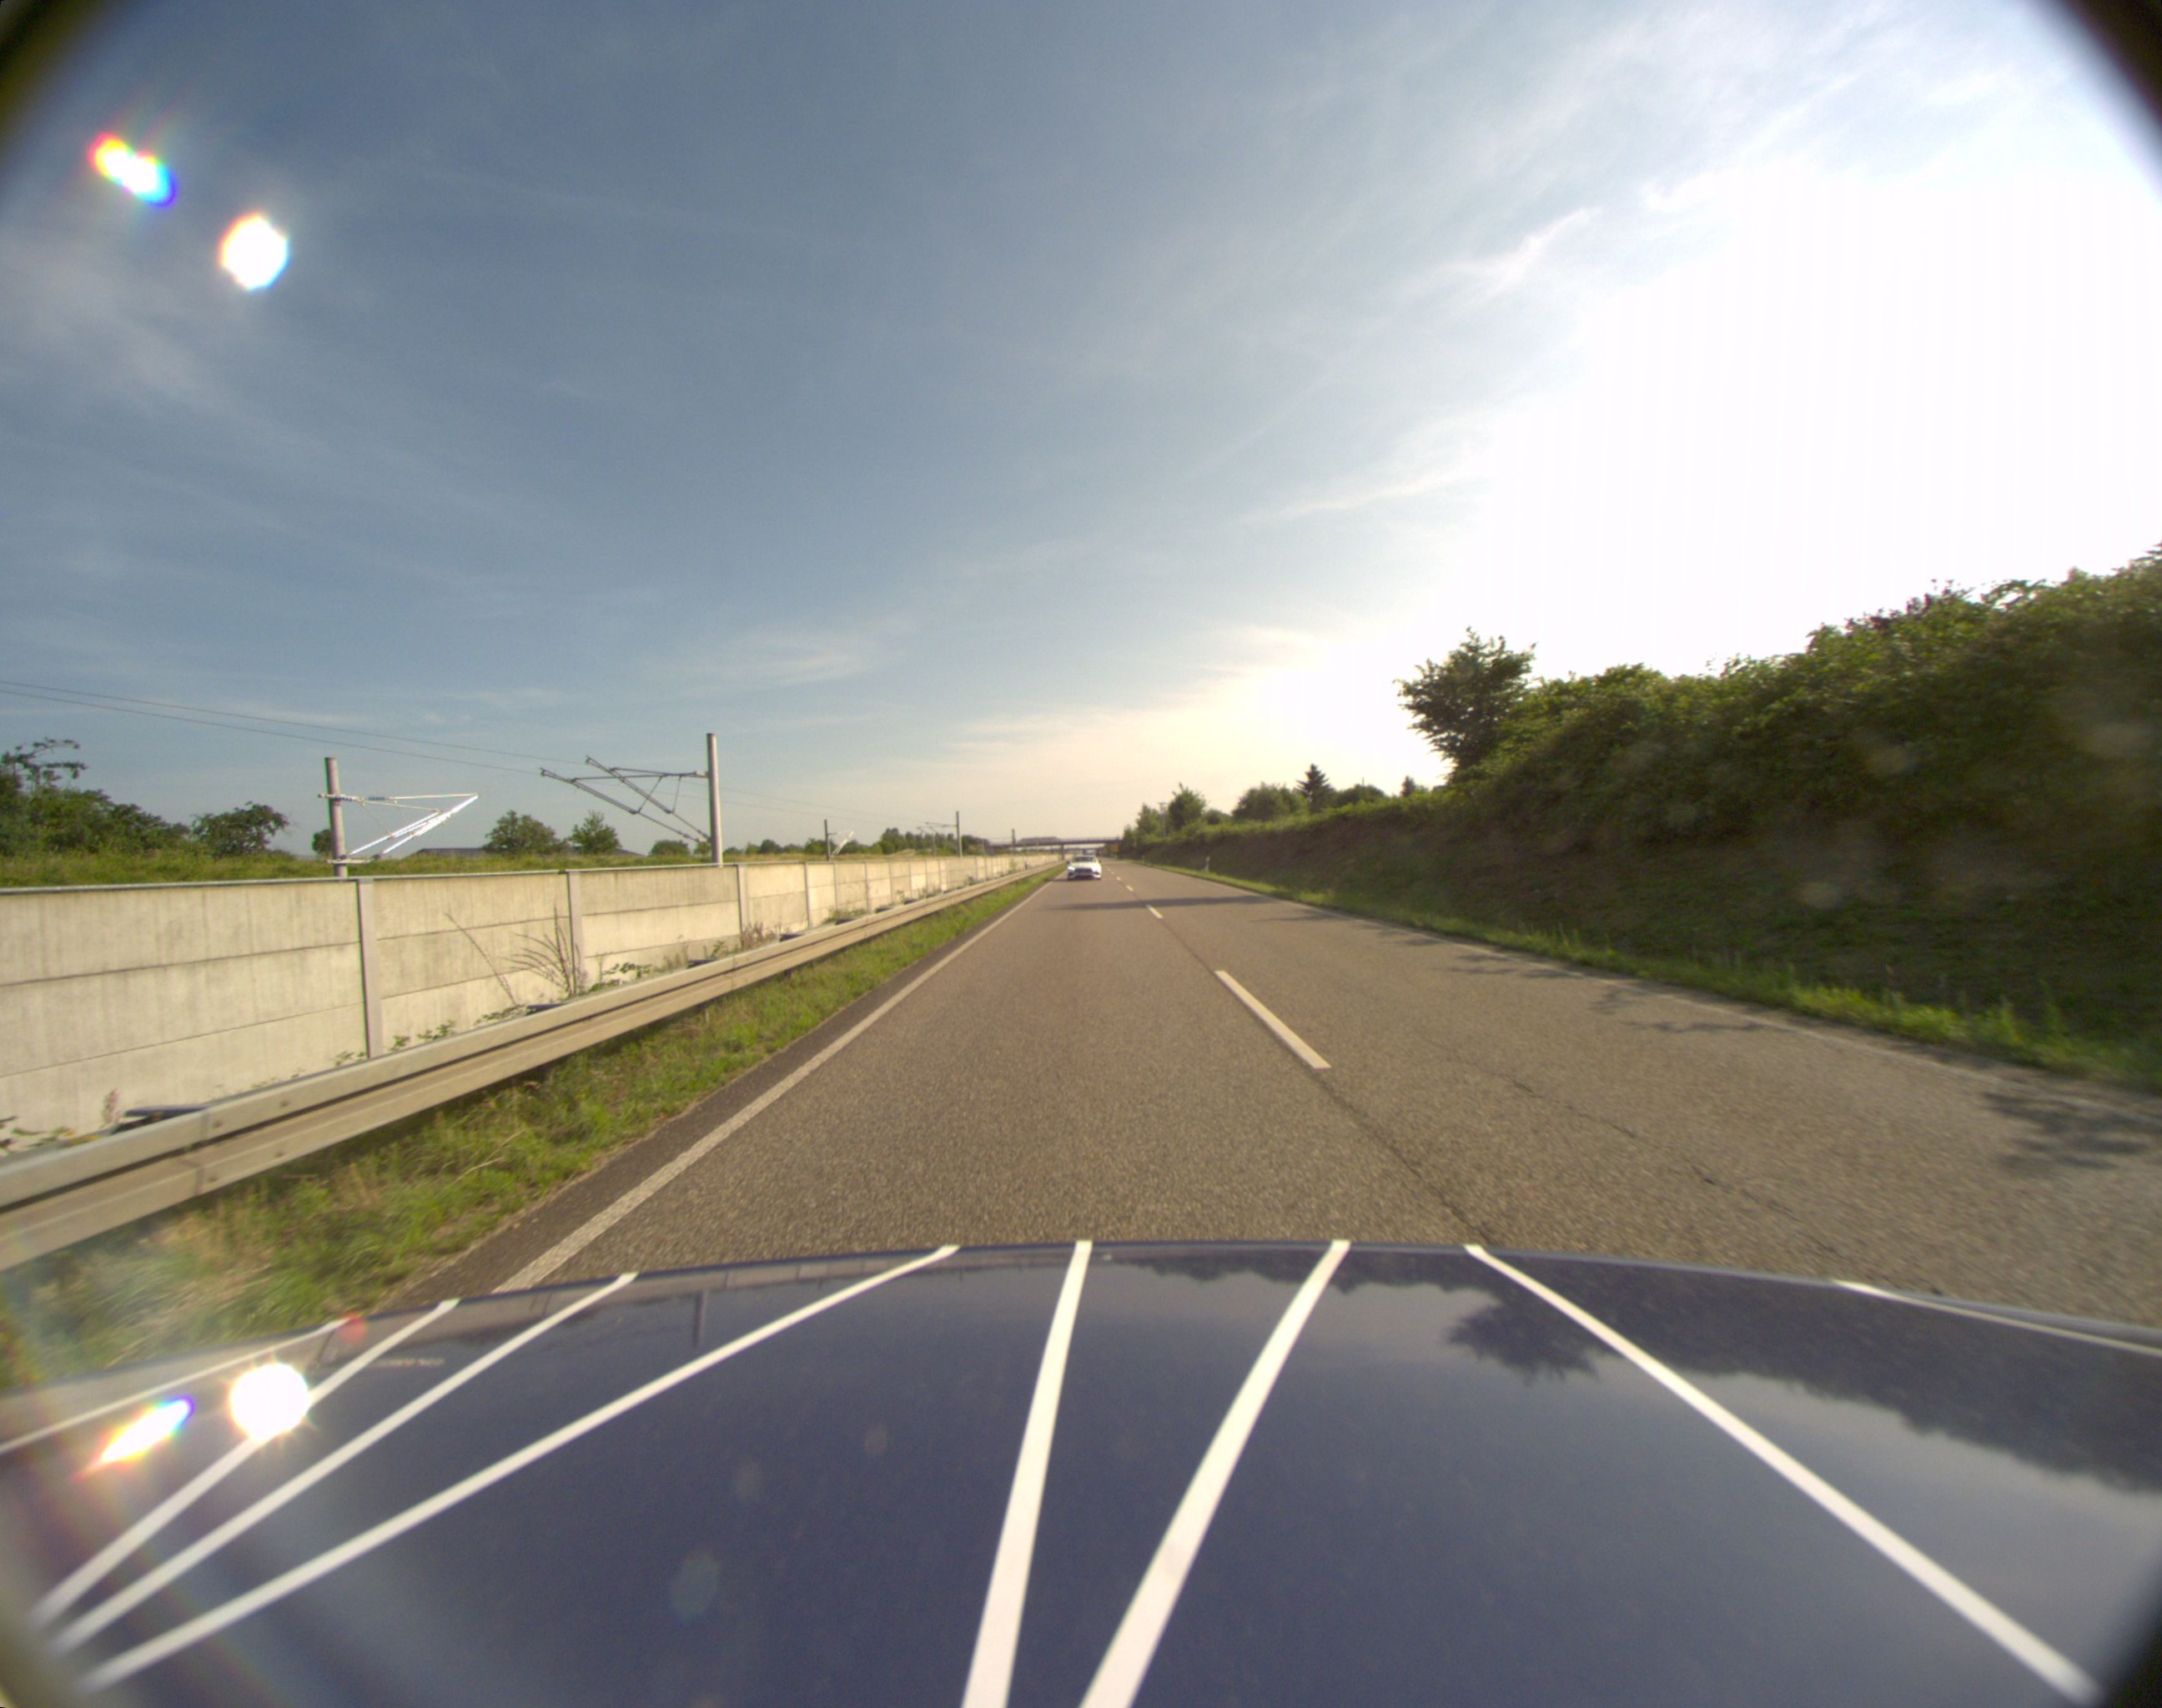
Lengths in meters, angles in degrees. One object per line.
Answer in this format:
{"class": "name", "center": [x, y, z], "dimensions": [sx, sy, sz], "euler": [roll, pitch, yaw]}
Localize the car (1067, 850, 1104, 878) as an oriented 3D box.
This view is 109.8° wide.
{"class": "car", "center": [0.294, 0.519, 43.852], "dimensions": [1.952, 1.430, 4.611], "euler": [-3, 1, 1]}
